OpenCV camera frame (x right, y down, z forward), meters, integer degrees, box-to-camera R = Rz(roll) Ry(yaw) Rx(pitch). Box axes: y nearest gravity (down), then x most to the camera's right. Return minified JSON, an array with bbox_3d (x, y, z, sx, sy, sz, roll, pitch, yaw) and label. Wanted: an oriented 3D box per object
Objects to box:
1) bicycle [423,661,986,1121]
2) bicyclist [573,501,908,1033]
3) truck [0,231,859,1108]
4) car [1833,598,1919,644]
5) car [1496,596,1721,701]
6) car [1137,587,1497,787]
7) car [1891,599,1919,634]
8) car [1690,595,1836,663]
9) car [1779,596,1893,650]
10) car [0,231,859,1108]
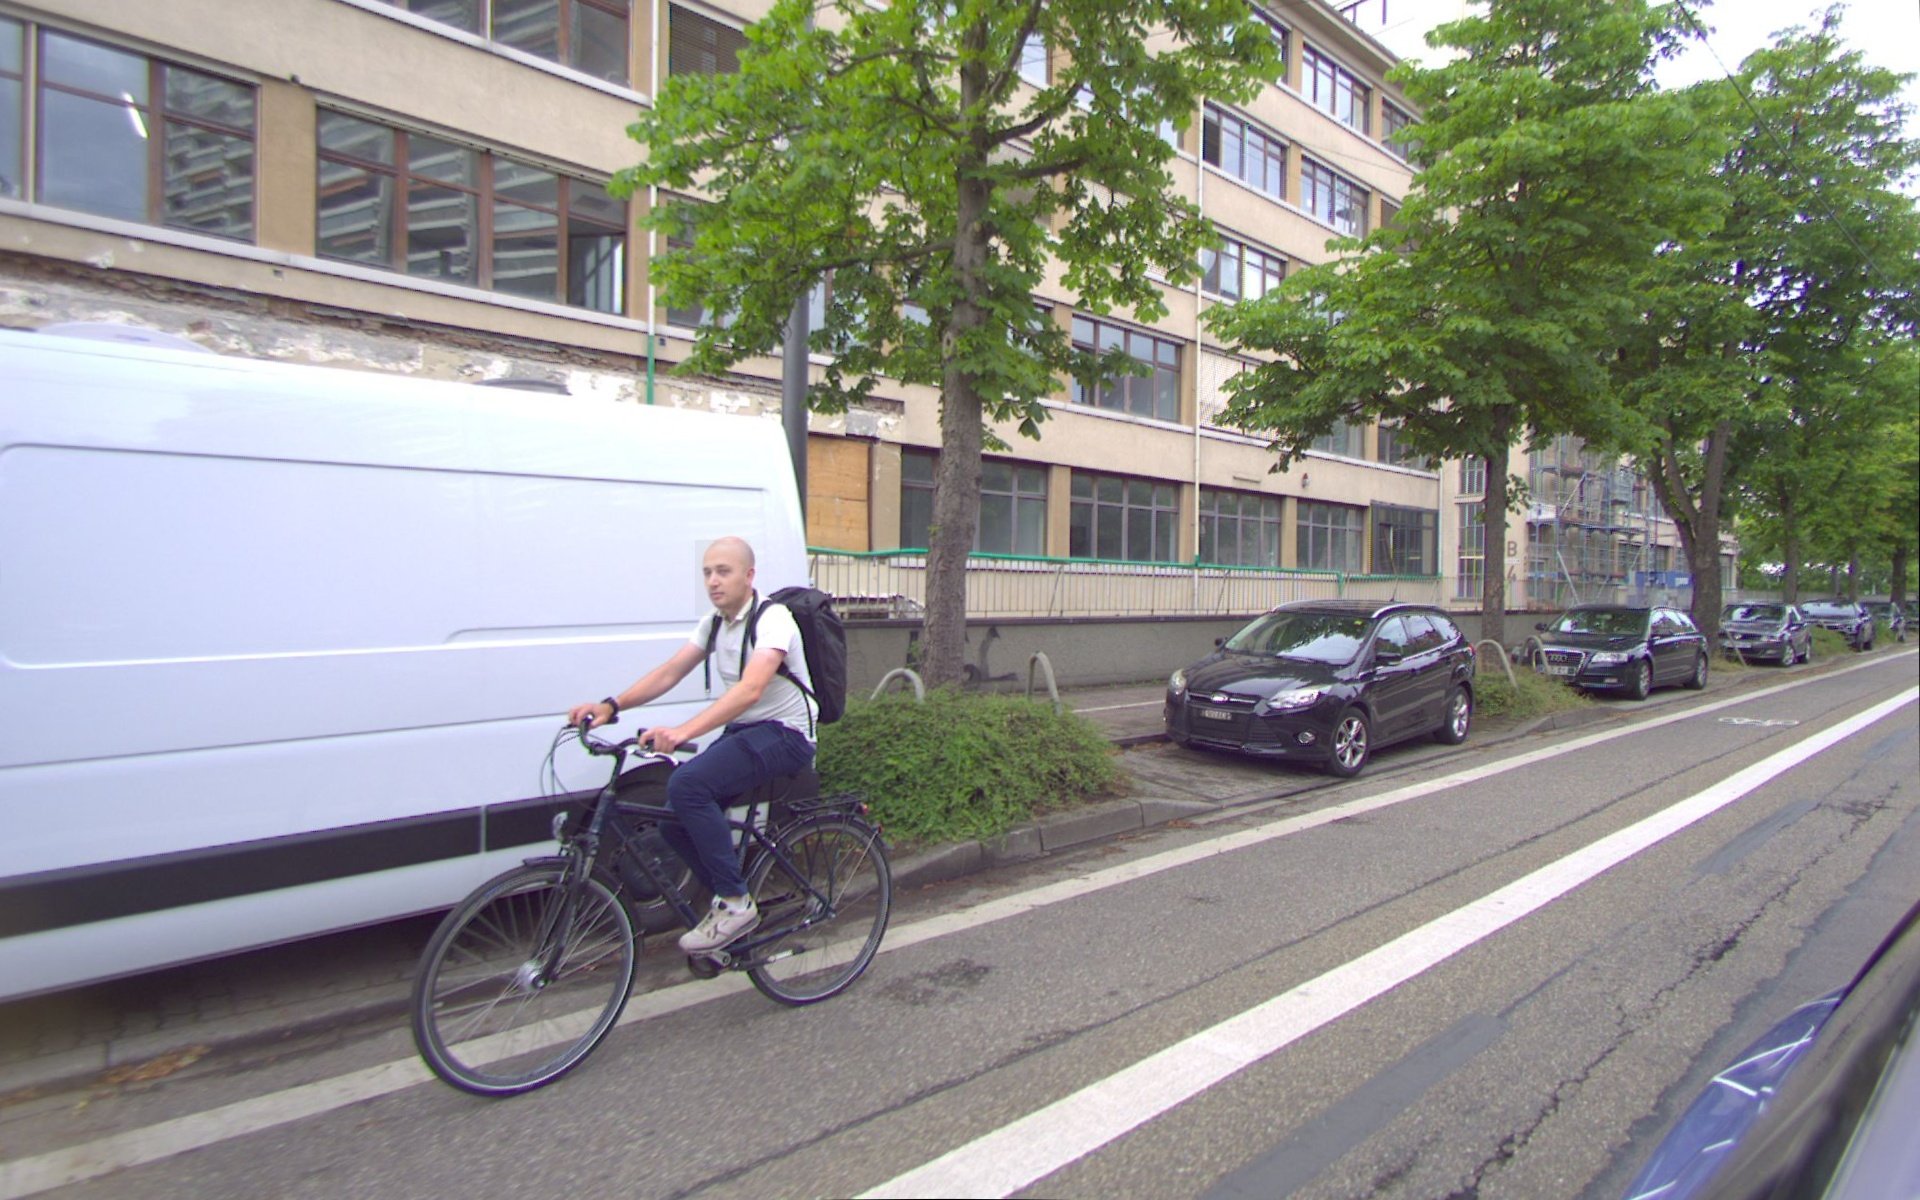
[{"bbox_3d":[-0.800,0.826,3.570,1.834,1.131,0.665,0,-1,-42],"label":"bicycle"},{"bbox_3d":[-0.767,0.496,3.599,0.969,1.589,0.663,0,0,-41],"label":"bicyclist"},{"bbox_3d":[-3.208,0.202,4.187,5.398,2.635,2.115,0,0,-43],"label":"truck"},{"bbox_3d":[32.077,0.671,35.219,4.317,1.479,1.997,0,0,-41],"label":"car"},{"bbox_3d":[10.667,0.677,16.520,4.317,1.479,1.997,0,0,-41],"label":"car"},{"bbox_3d":[3.727,0.670,10.189,4.039,1.518,1.822,-1,3,-45],"label":"car"},{"bbox_3d":[42.986,0.712,44.910,4.317,1.479,1.997,0,0,-41],"label":"car"},{"bbox_3d":[19.105,0.620,24.023,4.317,1.479,1.997,0,0,-41],"label":"car"},{"bbox_3d":[26.074,0.625,30.073,4.317,1.479,1.997,0,0,-41],"label":"car"},{"bbox_3d":[-3.208,0.202,4.187,5.398,2.635,2.115,0,0,-43],"label":"car"}]
